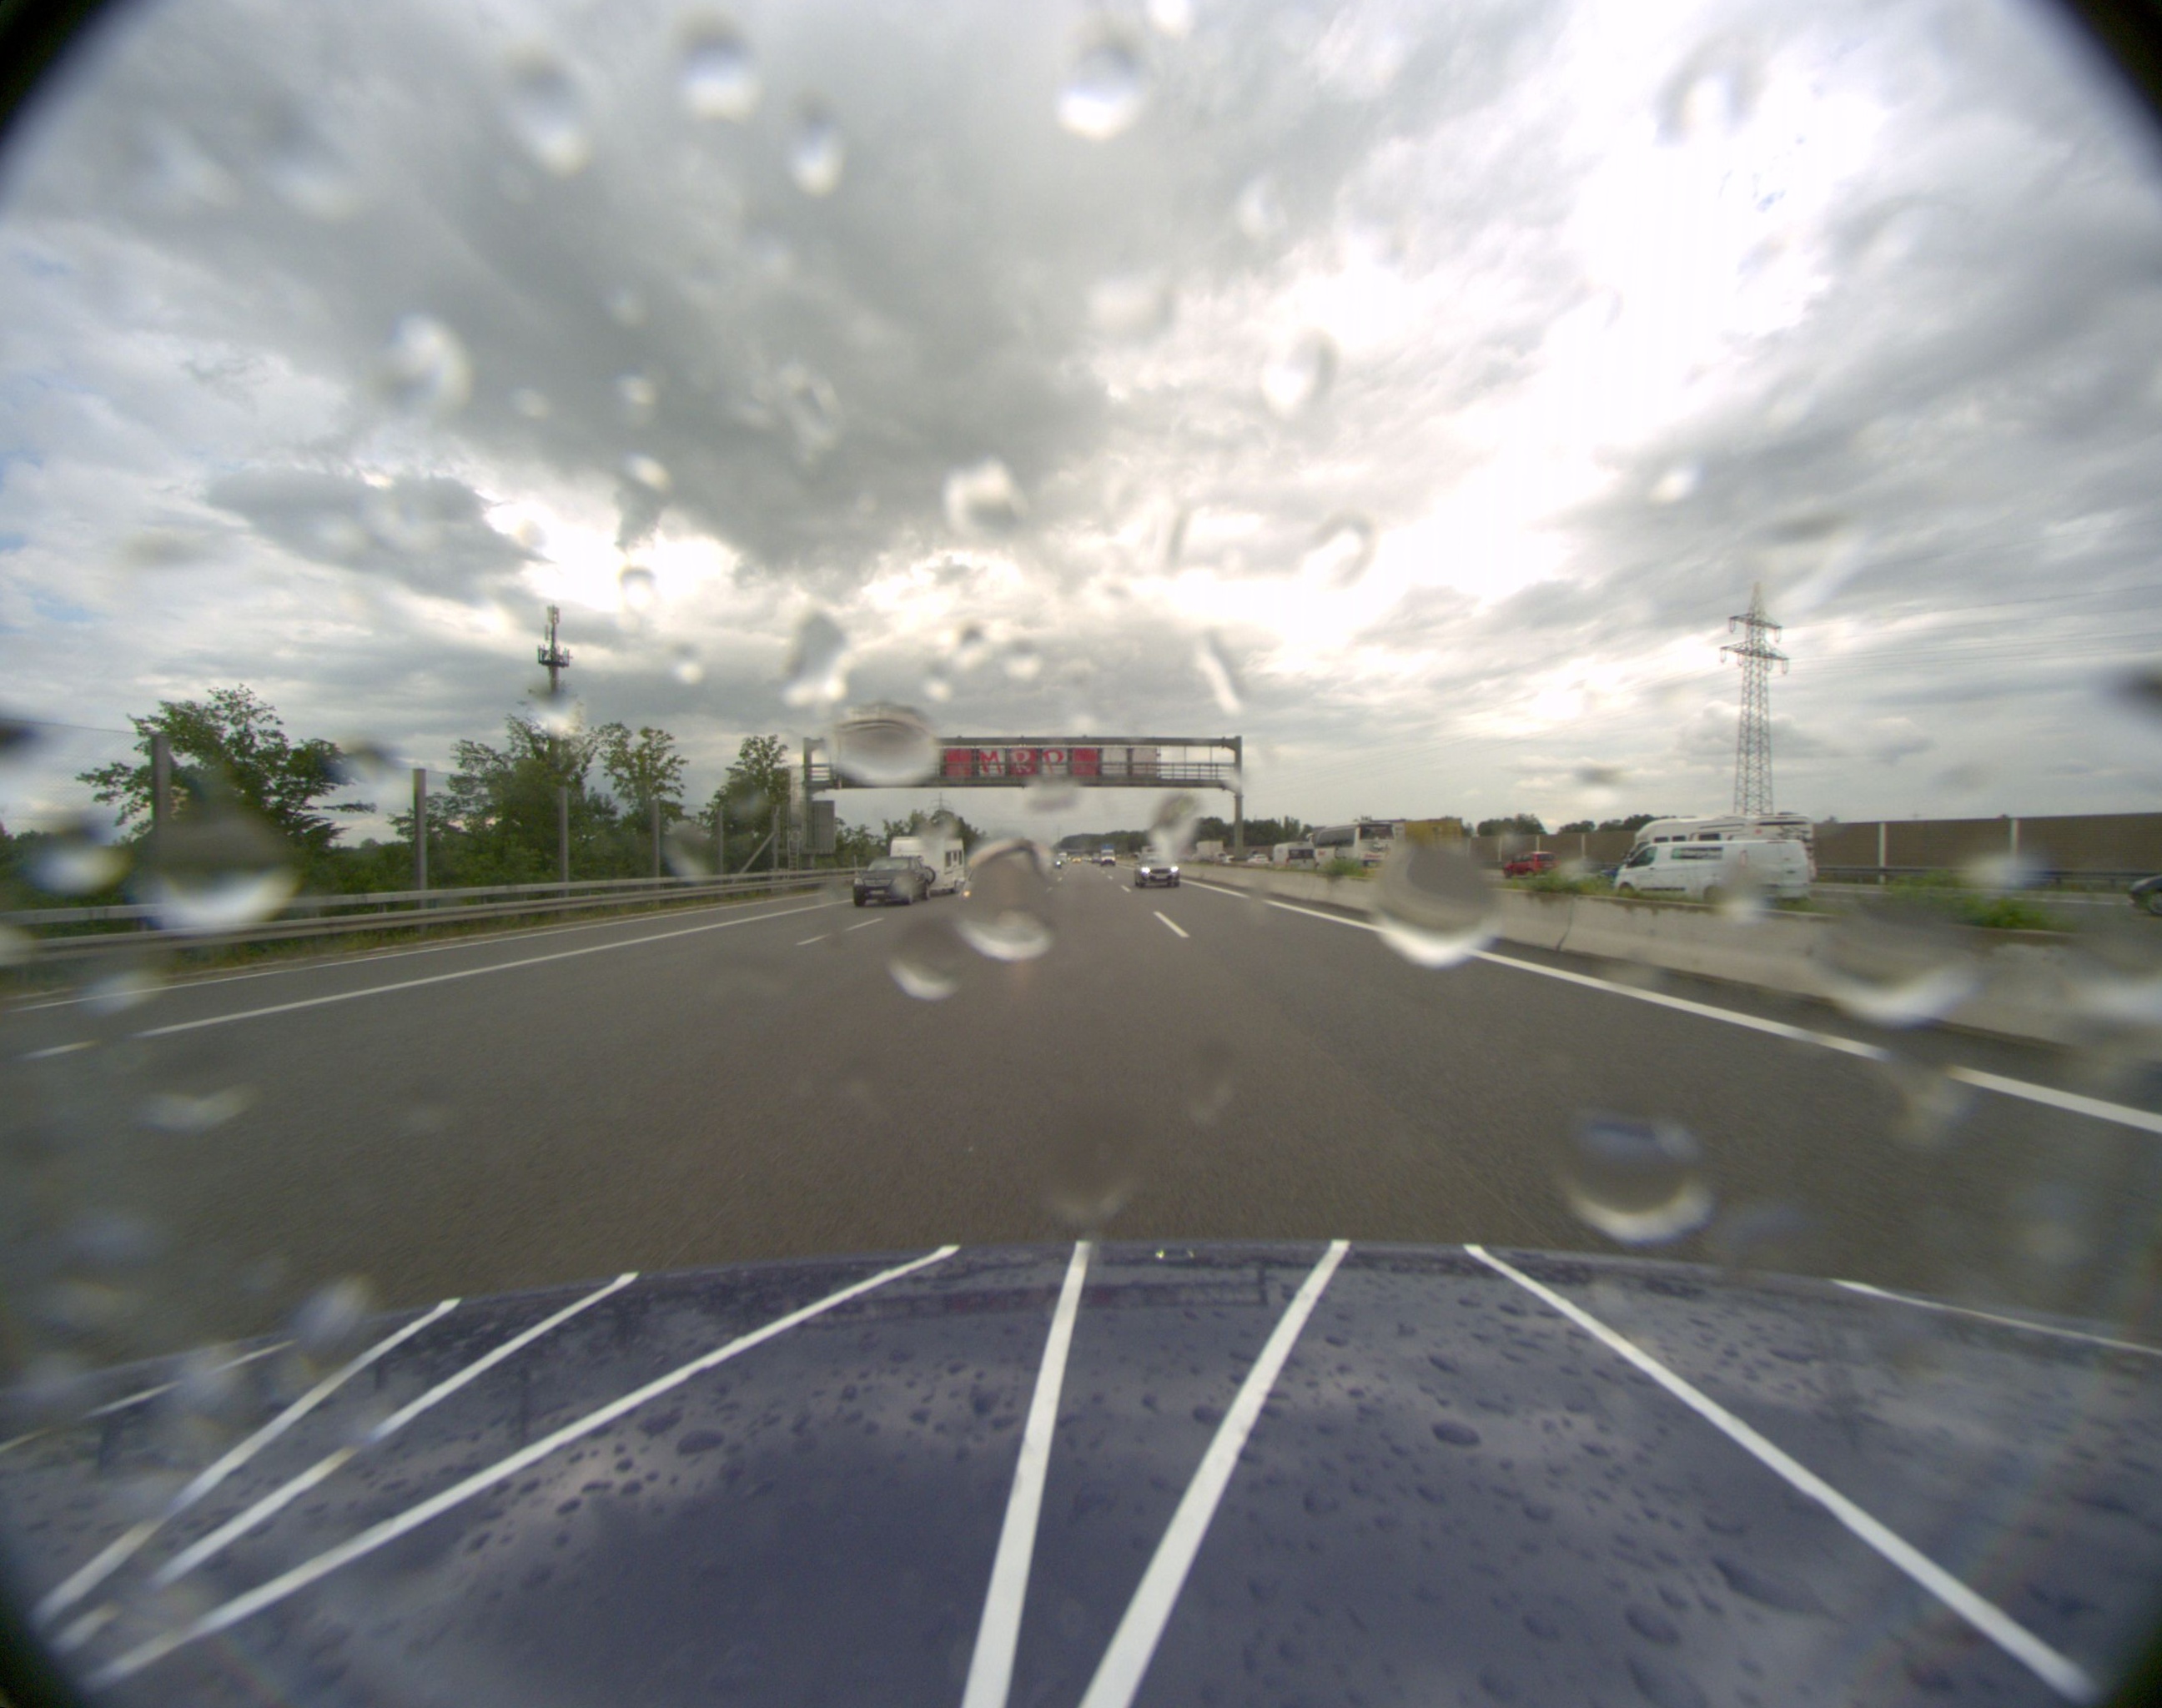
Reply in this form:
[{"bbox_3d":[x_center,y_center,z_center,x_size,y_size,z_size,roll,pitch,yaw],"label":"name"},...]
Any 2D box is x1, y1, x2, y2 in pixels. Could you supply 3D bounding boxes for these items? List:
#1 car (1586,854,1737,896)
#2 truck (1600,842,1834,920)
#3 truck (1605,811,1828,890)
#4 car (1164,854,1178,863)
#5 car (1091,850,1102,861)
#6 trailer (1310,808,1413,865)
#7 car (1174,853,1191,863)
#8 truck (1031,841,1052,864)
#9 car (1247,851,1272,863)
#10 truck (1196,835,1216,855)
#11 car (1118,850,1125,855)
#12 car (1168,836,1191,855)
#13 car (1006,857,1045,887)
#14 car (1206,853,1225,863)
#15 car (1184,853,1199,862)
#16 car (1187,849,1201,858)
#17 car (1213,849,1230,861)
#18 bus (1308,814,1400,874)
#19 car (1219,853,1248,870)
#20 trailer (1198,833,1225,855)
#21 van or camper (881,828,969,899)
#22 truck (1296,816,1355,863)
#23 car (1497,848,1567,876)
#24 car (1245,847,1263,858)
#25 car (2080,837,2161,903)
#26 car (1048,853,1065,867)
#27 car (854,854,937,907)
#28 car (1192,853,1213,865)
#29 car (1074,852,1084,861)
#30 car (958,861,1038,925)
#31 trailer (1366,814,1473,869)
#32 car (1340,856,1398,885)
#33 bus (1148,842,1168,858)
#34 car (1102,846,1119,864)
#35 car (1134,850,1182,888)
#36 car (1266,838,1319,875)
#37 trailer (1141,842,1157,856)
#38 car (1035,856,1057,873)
[{"bbox_3d":[21.536,0.725,28.498,1.969,1.378,4.945,-1,0,1],"label":"car"},{"bbox_3d":[18.304,0.669,22.382,2.249,1.988,5.544,-1,0,0],"label":"truck"},{"bbox_3d":[25.499,-0.157,31.179,2.698,2.798,7.834,-1,0,1],"label":"truck"},{"bbox_3d":[15.455,0.808,131.308,1.721,1.418,4.860,-2,0,-1],"label":"car"},{"bbox_3d":[3.006,0.261,151.853,1.999,2.002,3.999,-2,0,-1],"label":"car"},{"bbox_3d":[22.170,-1.280,61.334,2.893,3.938,14.297,-2,0,0],"label":"trailer"},{"bbox_3d":[14.477,0.527,108.499,1.792,1.373,4.860,-2,0,-1],"label":"car"},{"bbox_3d":[-6.667,-0.307,129.501,2.870,3.633,9.593,-2,0,-1],"label":"truck"},{"bbox_3d":[22.000,0.342,93.826,1.792,1.373,4.860,-2,0,-1],"label":"car"},{"bbox_3d":[26.130,-1.837,159.332,2.908,4.092,6.621,-2,0,-1],"label":"truck"},{"bbox_3d":[13.650,-0.606,257.689,1.792,1.446,4.564,-4,0,-2],"label":"car"},{"bbox_3d":[21.716,-1.819,168.688,2.990,4.099,14.393,-2,0,-1],"label":"car"},{"bbox_3d":[-2.860,0.893,39.926,1.717,1.437,4.000,-2,0,-1],"label":"car"},{"bbox_3d":[19.106,0.514,108.124,1.792,1.373,4.860,-2,0,-1],"label":"car"},{"bbox_3d":[19.030,0.646,131.389,1.721,1.418,4.860,-2,0,-1],"label":"car"},{"bbox_3d":[21.152,-0.041,142.294,1.792,1.582,4.581,-2,0,-1],"label":"car"},{"bbox_3d":[21.928,0.204,118.786,1.795,1.729,4.577,-2,0,-1],"label":"car"},{"bbox_3d":[18.423,-0.637,52.199,2.660,3.658,10.634,-1,0,1],"label":"bus"},{"bbox_3d":[14.505,0.689,72.435,1.741,1.530,4.376,-2,0,-1],"label":"car"},{"bbox_3d":[26.197,-1.865,152.692,2.908,4.092,12.697,-2,0,-1],"label":"trailer"},{"bbox_3d":[-6.752,0.361,33.851,2.390,2.722,7.208,-2,0,-1],"label":"van or camper"},{"bbox_3d":[22.170,-1.293,69.354,2.893,3.938,7.535,-2,0,0],"label":"truck"},{"bbox_3d":[26.156,0.450,44.208,1.791,1.533,3.888,-1,1,1],"label":"car"},{"bbox_3d":[26.840,-0.240,117.923,1.792,1.588,3.955,-2,0,-1],"label":"car"},{"bbox_3d":[25.230,0.354,16.137,1.812,1.479,4.773,-1,0,1],"label":"car"},{"bbox_3d":[-3.091,0.786,96.622,1.999,1.701,3.999,-2,0,-2],"label":"car"},{"bbox_3d":[-6.712,0.896,27.981,1.925,1.766,4.502,-2,0,-1],"label":"car"},{"bbox_3d":[14.705,0.606,92.292,1.792,1.373,4.589,-2,0,-1],"label":"car"},{"bbox_3d":[-0.481,0.539,169.473,1.999,2.002,3.999,-2,0,-1],"label":"car"},{"bbox_3d":[-2.100,0.954,20.201,1.683,1.437,4.000,-2,0,-1],"label":"car"},{"bbox_3d":[26.894,-0.972,61.405,3.036,3.910,12.974,-1,0,1],"label":"trailer"},{"bbox_3d":[14.506,0.802,38.470,1.618,1.380,3.328,-1,0,-1],"label":"car"},{"bbox_3d":[17.923,-0.957,177.768,2.897,3.590,12.757,-2,0,-1],"label":"bus"},{"bbox_3d":[4.165,0.123,108.239,1.999,2.524,4.808,-2,0,-1],"label":"car"},{"bbox_3d":[3.615,0.672,36.422,1.840,1.615,4.915,-2,0,1],"label":"car"},{"bbox_3d":[14.805,0.166,53.624,2.142,2.338,5.710,-2,0,0],"label":"car"},{"bbox_3d":[20.551,-1.554,229.746,3.669,4.084,13.398,-2,0,0],"label":"trailer"},{"bbox_3d":[-3.135,0.953,68.455,1.841,1.437,4.000,-2,0,-1],"label":"car"}]
